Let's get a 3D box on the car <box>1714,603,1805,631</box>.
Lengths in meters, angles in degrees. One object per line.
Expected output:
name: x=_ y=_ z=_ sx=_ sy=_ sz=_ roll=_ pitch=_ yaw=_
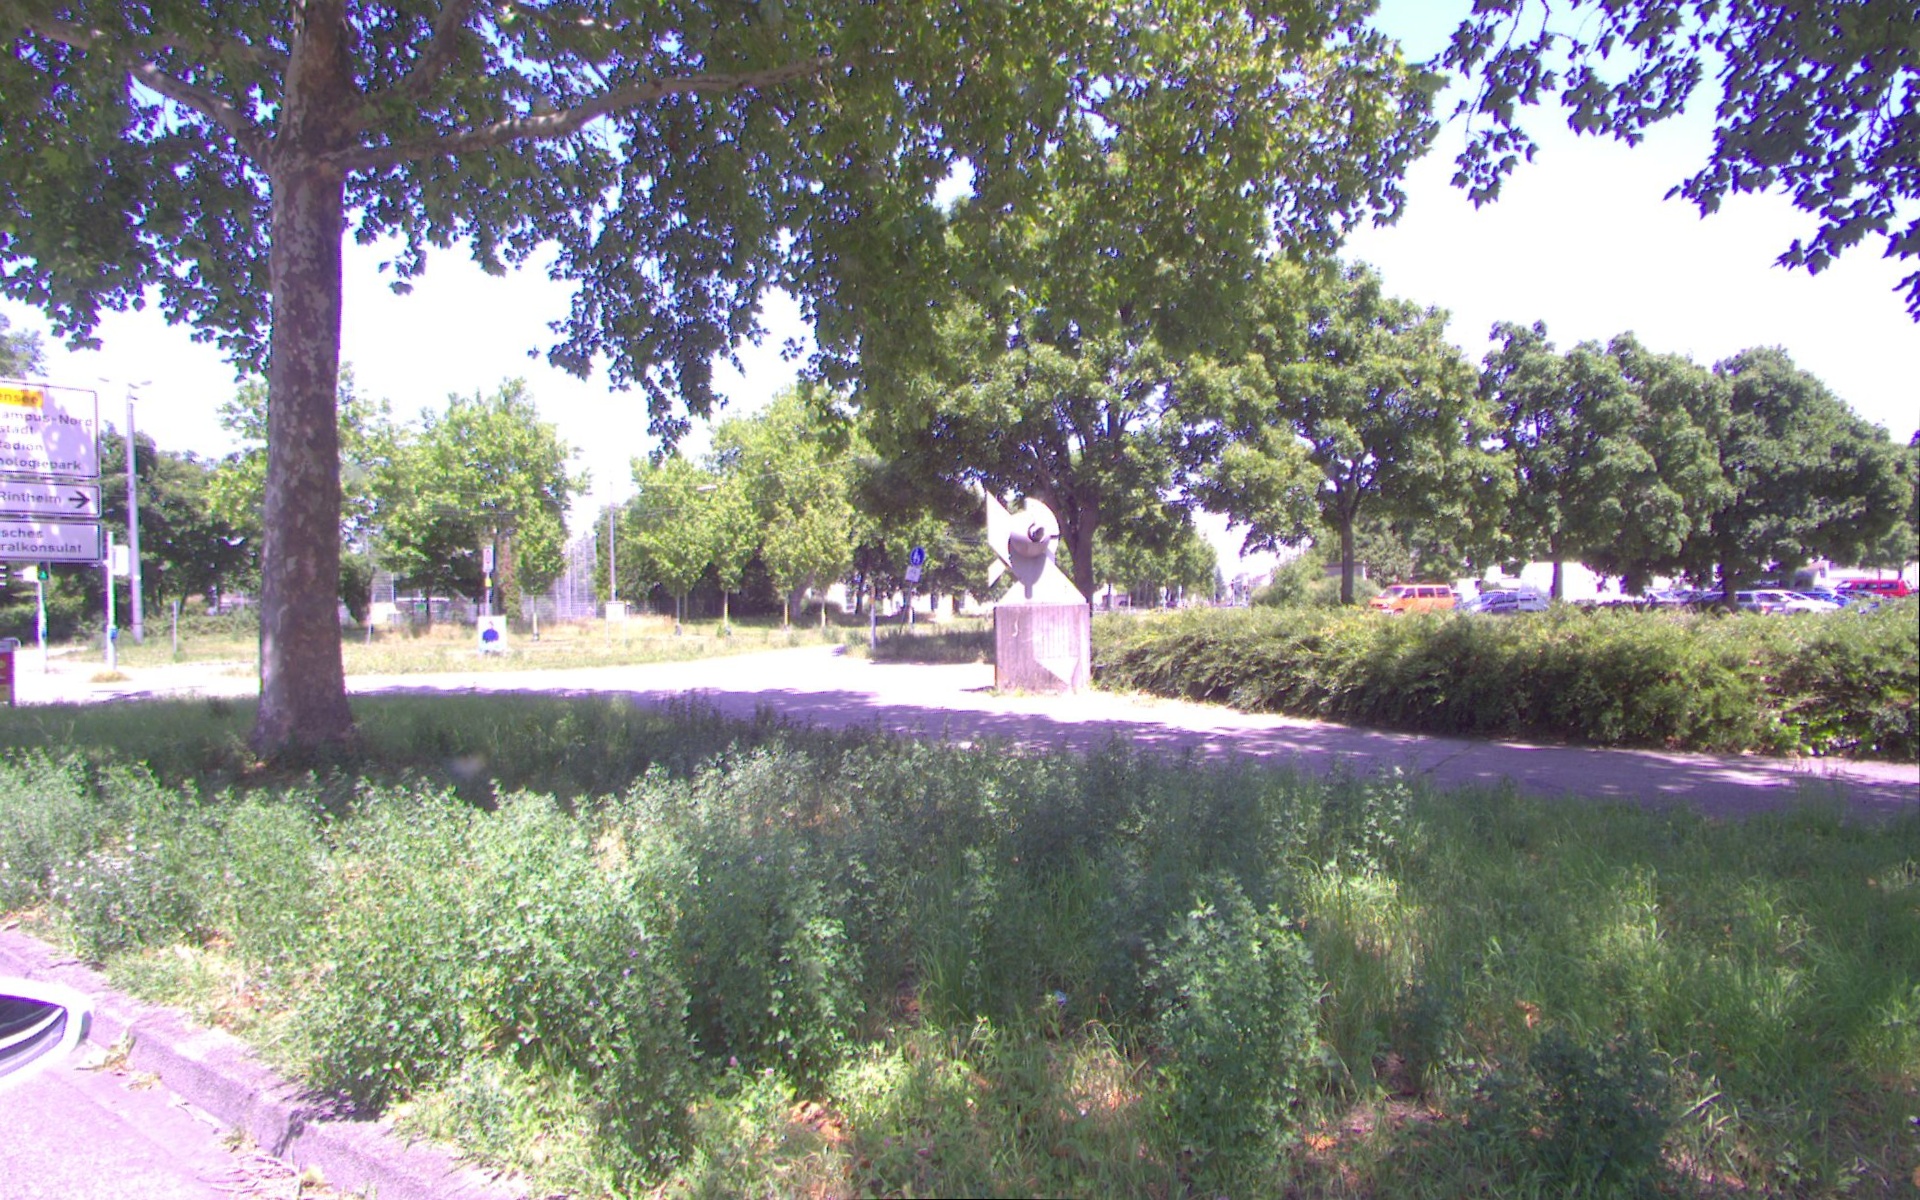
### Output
car: x=30.745 y=0.643 z=38.556 sx=0.938 sy=1.050 sz=2.590 roll=-1 pitch=0 yaw=-25

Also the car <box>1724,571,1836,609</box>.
car: x=46.408 y=-0.553 z=56.797 sx=2.209 sy=2.040 sz=4.409 roll=-1 pitch=0 yaw=-22

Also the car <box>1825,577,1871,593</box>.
car: x=92.687 y=-1.557 z=104.531 sx=3.309 sy=1.639 sz=1.439 roll=-1 pitch=0 yaw=19

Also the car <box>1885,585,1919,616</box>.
car: x=44.445 y=0.020 z=45.312 sx=1.690 sy=1.384 sz=3.414 roll=-1 pitch=0 yaw=-25

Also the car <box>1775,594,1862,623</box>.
car: x=35.363 y=0.359 z=41.305 sx=0.938 sy=1.141 sz=2.590 roll=-1 pitch=0 yaw=-25

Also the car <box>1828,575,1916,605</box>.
car: x=104.159 y=-1.098 z=114.394 sx=3.155 sy=3.224 sz=7.143 roll=-1 pitch=0 yaw=-41

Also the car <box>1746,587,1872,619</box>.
car: x=34.476 y=0.093 z=40.753 sx=1.595 sy=1.242 sz=3.559 roll=0 pitch=1 yaw=-25

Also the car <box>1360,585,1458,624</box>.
car: x=23.842 y=0.224 z=53.233 sx=4.582 sy=2.029 sz=2.069 roll=0 pitch=0 yaw=-19

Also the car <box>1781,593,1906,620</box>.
car: x=36.714 y=0.291 z=41.703 sx=1.655 sy=1.048 sz=3.553 roll=-1 pitch=0 yaw=-25

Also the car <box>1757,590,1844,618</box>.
car: x=34.364 y=0.171 z=40.986 sx=0.991 sy=1.141 sz=2.590 roll=-1 pitch=0 yaw=-25

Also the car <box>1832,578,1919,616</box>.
car: x=57.210 y=-0.135 z=62.328 sx=1.935 sy=2.038 sz=3.990 roll=2 pitch=-4 yaw=-23

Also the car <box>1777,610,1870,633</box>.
car: x=33.515 y=0.828 z=38.925 sx=0.938 sy=0.852 sz=2.590 roll=-1 pitch=0 yaw=-25

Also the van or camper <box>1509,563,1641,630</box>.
van or camper: x=27.003 y=-0.165 z=43.992 sx=5.039 sy=2.787 sz=2.199 roll=-1 pitch=0 yaw=-18

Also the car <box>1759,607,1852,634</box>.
car: x=32.397 y=0.774 z=38.413 sx=0.938 sy=1.000 sz=2.590 roll=-1 pitch=0 yaw=-25

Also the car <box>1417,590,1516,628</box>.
car: x=23.927 y=0.407 z=47.324 sx=4.000 sy=1.741 sz=1.952 roll=-1 pitch=0 yaw=-18
